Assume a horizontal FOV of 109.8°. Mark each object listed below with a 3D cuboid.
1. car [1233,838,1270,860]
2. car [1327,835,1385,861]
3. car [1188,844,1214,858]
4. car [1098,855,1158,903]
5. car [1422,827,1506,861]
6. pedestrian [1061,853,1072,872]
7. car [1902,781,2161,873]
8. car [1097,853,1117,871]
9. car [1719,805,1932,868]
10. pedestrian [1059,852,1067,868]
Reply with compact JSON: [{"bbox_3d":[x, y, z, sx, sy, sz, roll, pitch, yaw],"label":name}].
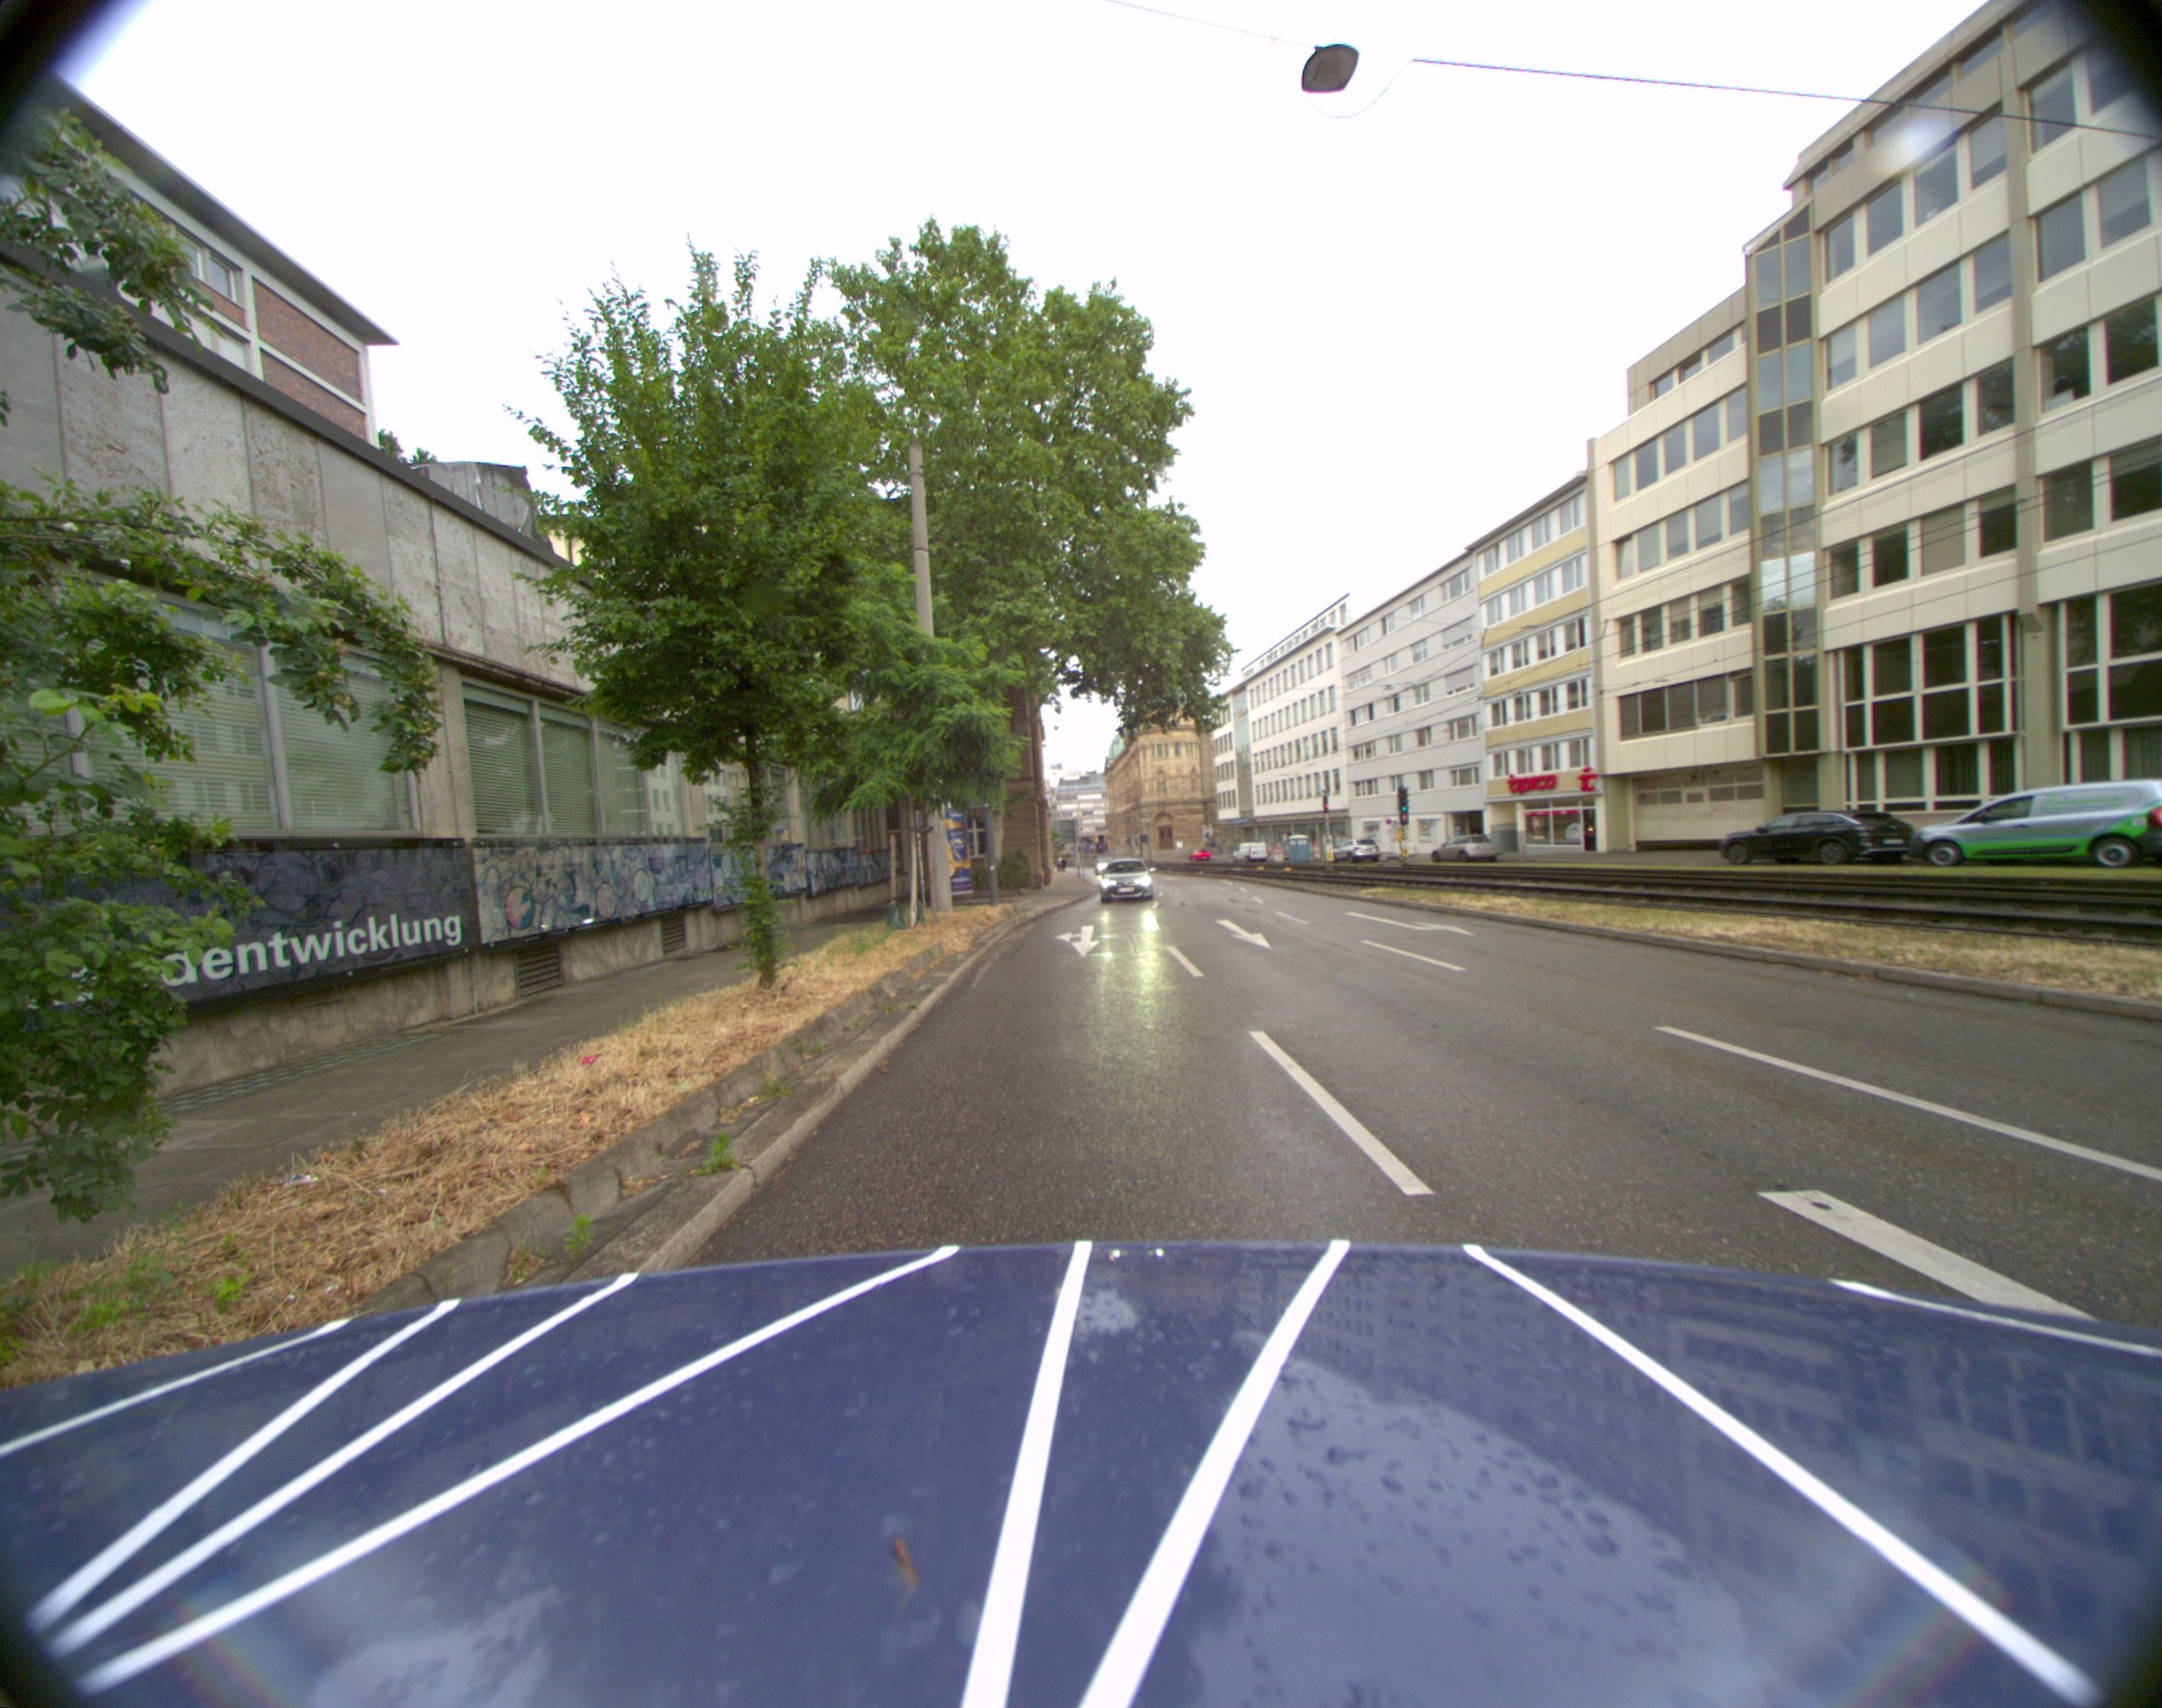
[{"bbox_3d":[16.324,-0.509,72.953,1.890,1.924,4.474,-5,1,-7],"label":"car"},{"bbox_3d":[18.166,-0.428,50.450,1.890,1.505,4.075,-5,1,-7],"label":"car"},{"bbox_3d":[14.545,-0.374,92.109,1.890,1.615,4.474,-5,1,-7],"label":"car"},{"bbox_3d":[1.572,0.821,26.751,1.811,1.426,4.297,-2,1,0],"label":"car"},{"bbox_3d":[19.490,-0.505,38.906,1.801,1.505,4.075,-5,1,-7],"label":"car"},{"bbox_3d":[-1.280,0.793,68.561,0.719,1.630,0.760,-5,2,10],"label":"pedestrian"},{"bbox_3d":[21.504,-0.591,16.809,1.801,1.736,4.213,-5,1,-8],"label":"car"},{"bbox_3d":[2.319,0.686,68.295,1.654,1.426,3.439,-2,1,0],"label":"car"},{"bbox_3d":[21.066,-0.475,21.771,1.801,1.505,4.075,-5,1,-7],"label":"car"},{"bbox_3d":[-1.979,0.663,85.426,0.719,1.630,0.760,-5,2,1],"label":"pedestrian"}]
